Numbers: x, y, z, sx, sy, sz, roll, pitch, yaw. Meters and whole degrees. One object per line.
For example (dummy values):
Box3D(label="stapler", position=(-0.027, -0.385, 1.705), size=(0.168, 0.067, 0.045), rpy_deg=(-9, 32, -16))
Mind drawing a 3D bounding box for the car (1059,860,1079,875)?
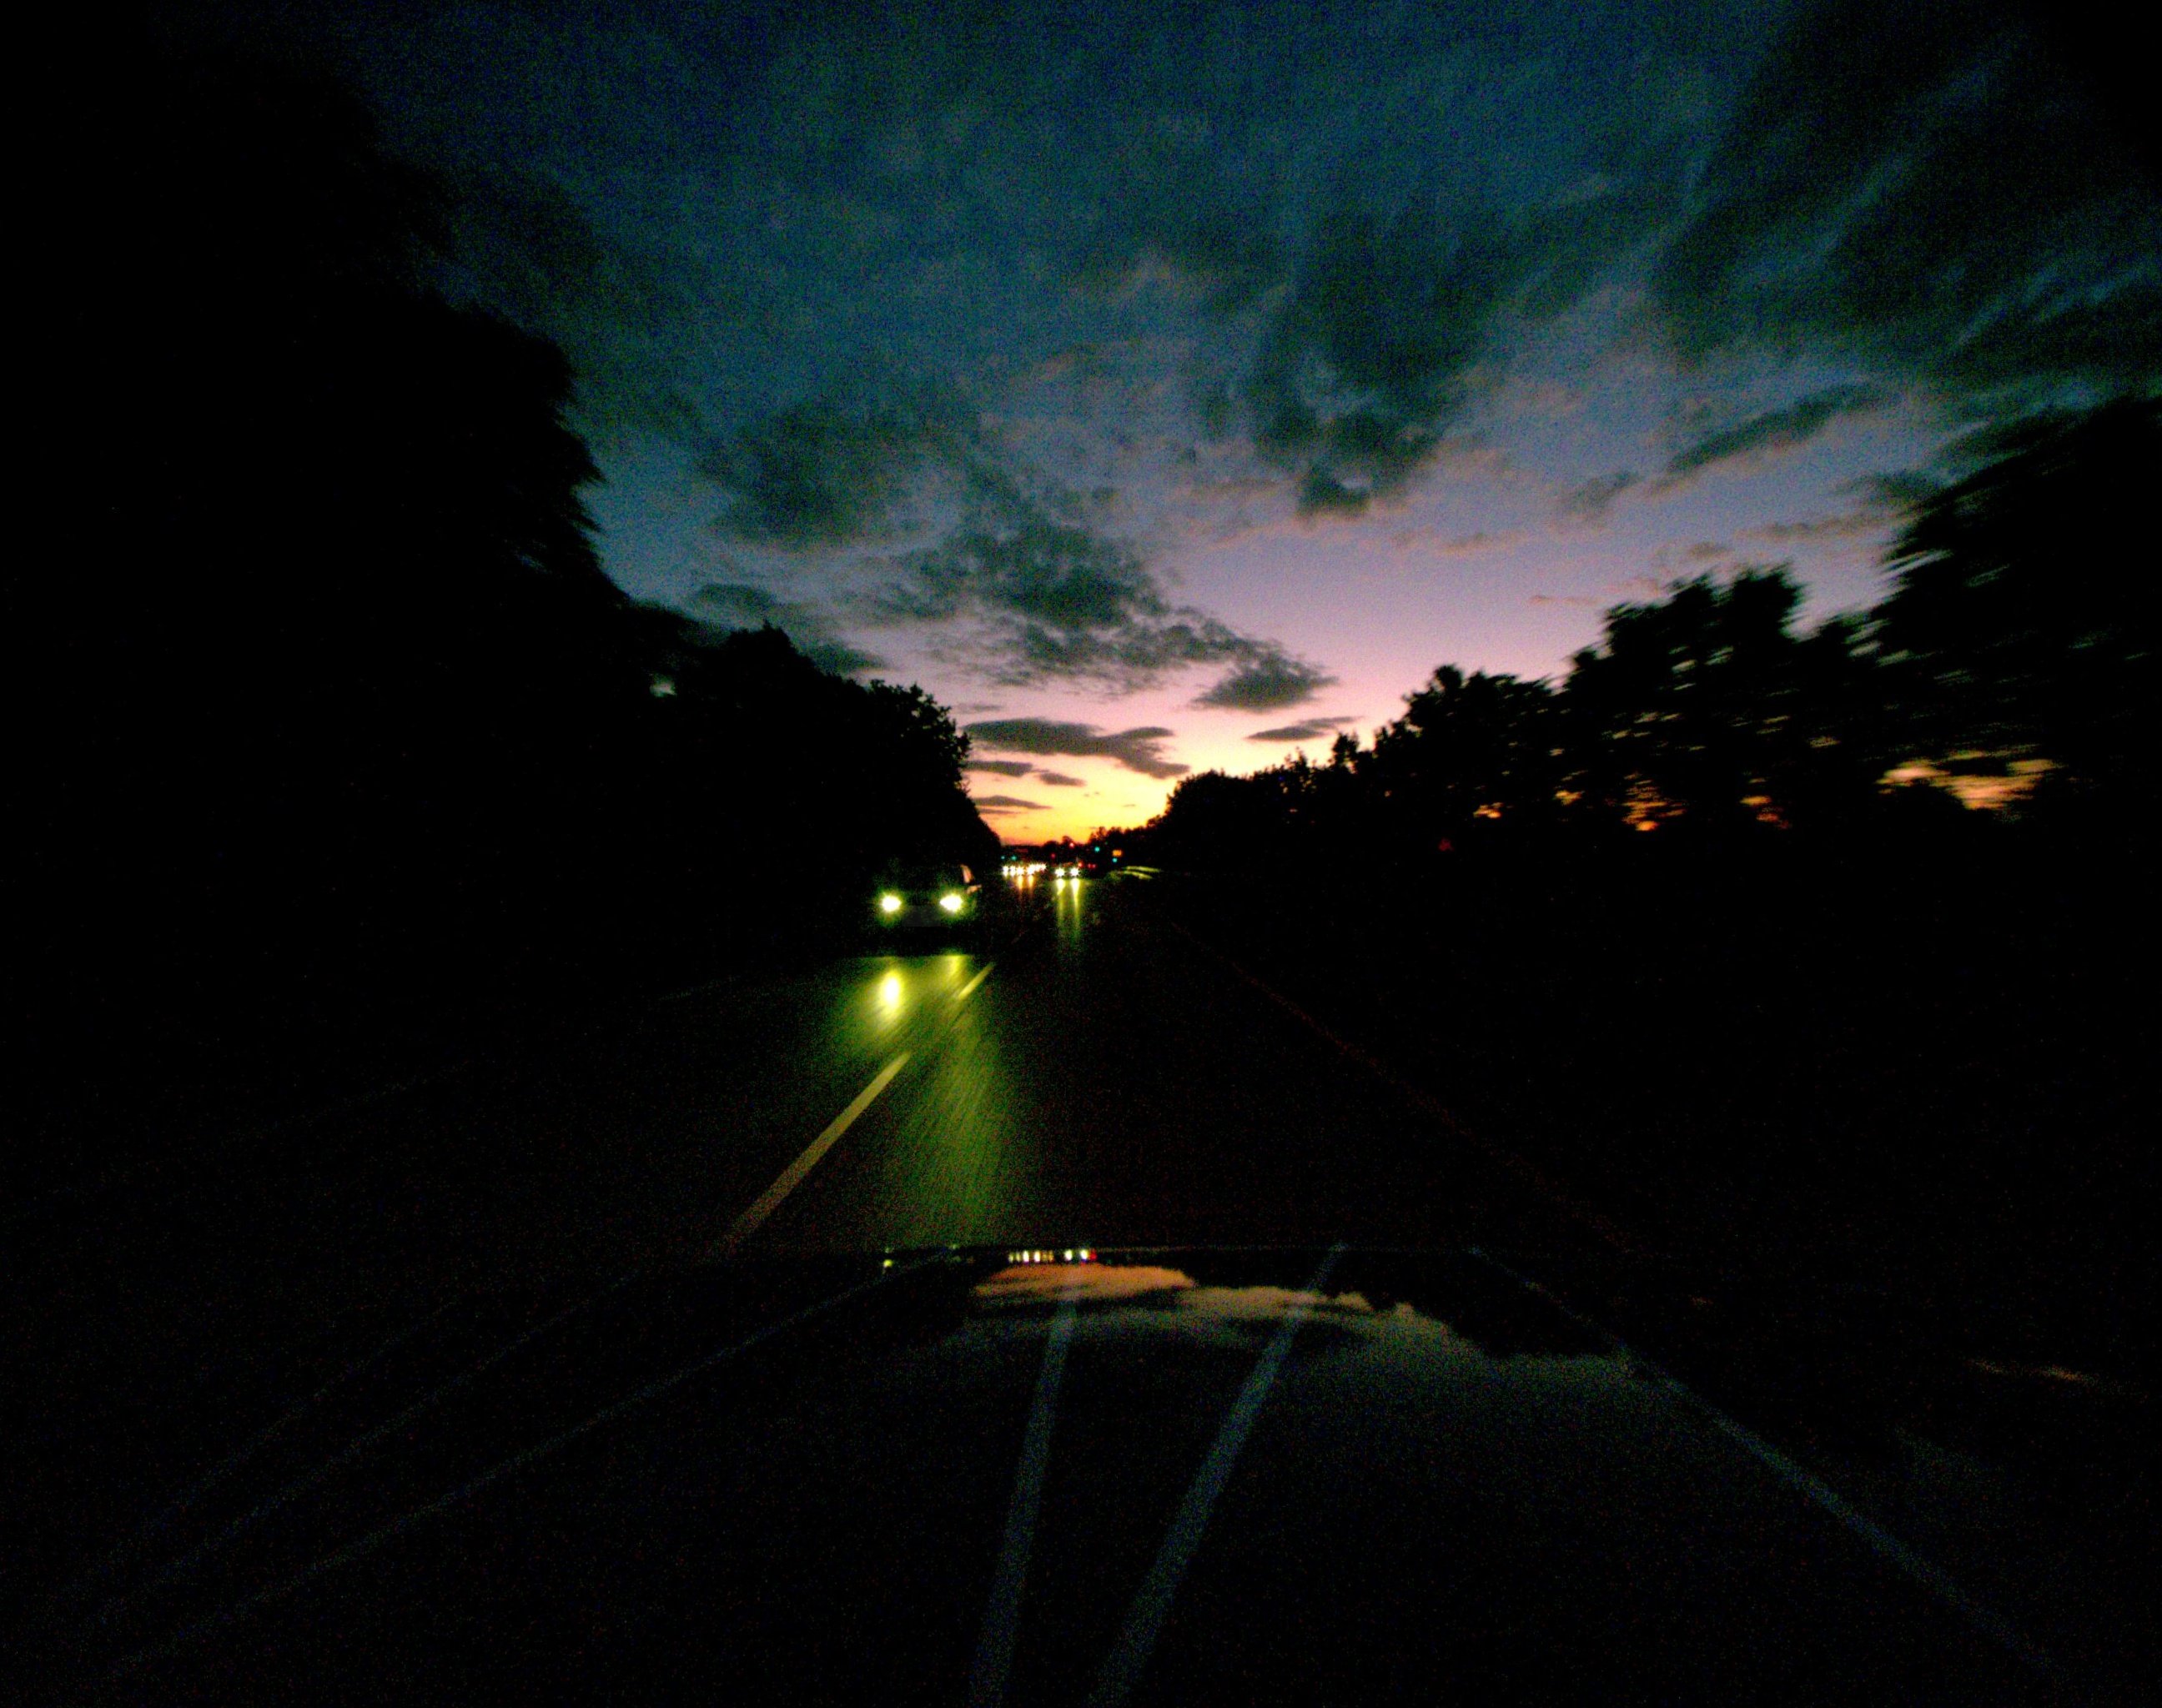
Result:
Box3D(label="car", position=(-1.228, 1.344, 76.709), size=(1.901, 1.472, 4.514), rpy_deg=(-2, 0, -1))

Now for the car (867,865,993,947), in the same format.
Box3D(label="car", position=(-3.395, 1.108, 18.097), size=(1.998, 1.600, 4.711), rpy_deg=(-2, 0, 0))

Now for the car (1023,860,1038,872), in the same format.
Box3D(label="car", position=(-6.508, 1.534, 97.457), size=(1.624, 1.460, 3.871), rpy_deg=(-2, 0, 0))

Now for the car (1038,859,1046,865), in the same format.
Box3D(label="car", position=(-10.537, 2.125, 205.892), size=(1.999, 1.602, 4.501), rpy_deg=(-1, 0, -1))

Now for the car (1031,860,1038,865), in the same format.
Box3D(label="car", position=(-13.811, 2.577, 224.373), size=(1.999, 1.423, 4.501), rpy_deg=(1, 0, -2))
